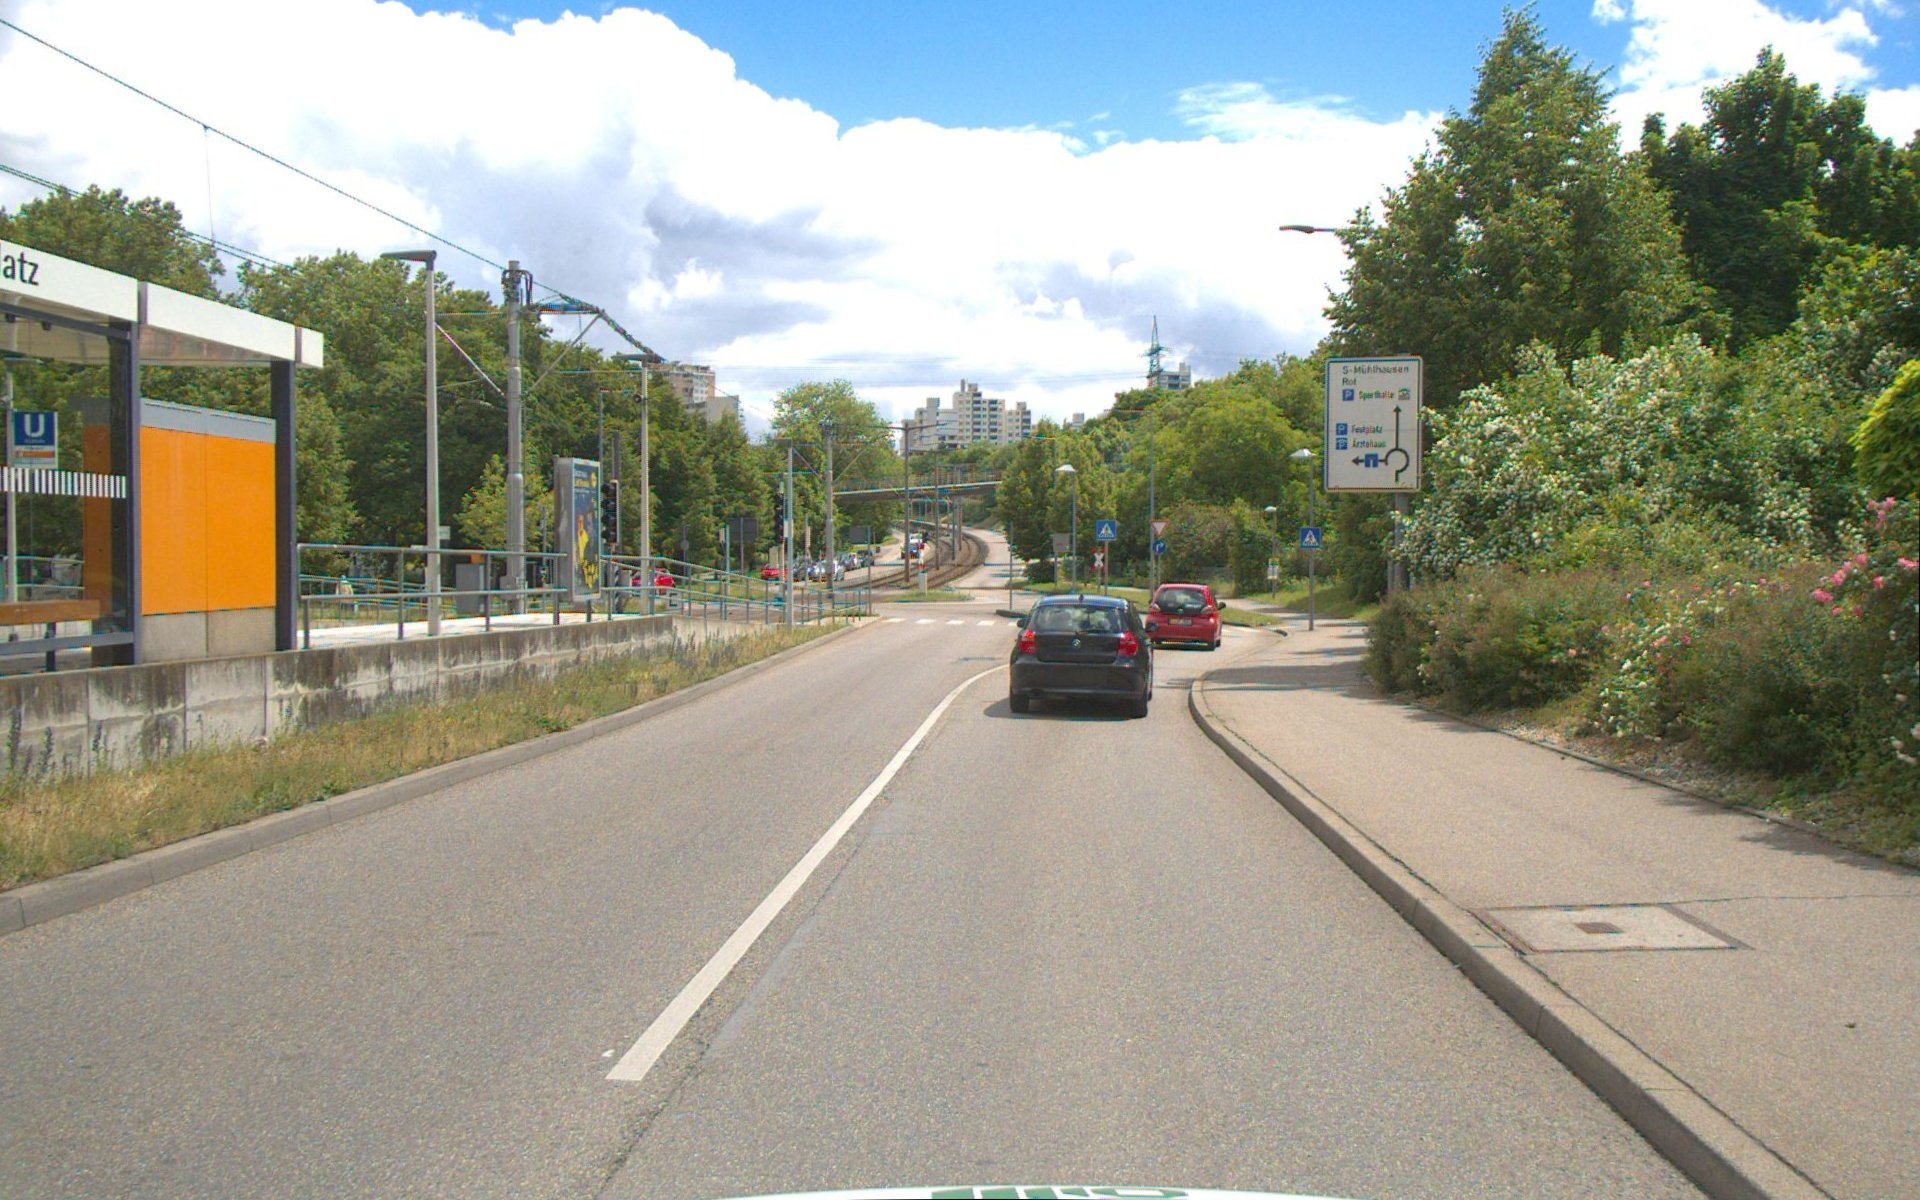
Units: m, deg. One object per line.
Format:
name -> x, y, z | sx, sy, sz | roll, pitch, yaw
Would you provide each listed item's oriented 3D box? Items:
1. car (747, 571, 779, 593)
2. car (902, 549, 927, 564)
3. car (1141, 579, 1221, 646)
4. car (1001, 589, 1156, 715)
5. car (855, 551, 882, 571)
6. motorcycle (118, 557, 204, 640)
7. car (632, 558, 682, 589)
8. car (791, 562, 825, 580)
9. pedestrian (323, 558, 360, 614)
car -> -13.209, -1.206, 110.987 | 1.496, 1.394, 3.599 | 0, 1, 4
car -> -5.024, -4.767, 182.339 | 1.951, 1.625, 4.424 | 0, 1, 8
car -> 5.171, 0.259, 38.374 | 1.728, 1.457, 3.482 | -1, 1, 9
car -> 1.494, 0.599, 21.272 | 1.777, 1.445, 4.002 | -1, 0, 3
car -> -8.755, -3.793, 159.118 | 1.951, 1.895, 4.004 | 0, 2, 7
motorcycle -> -20.133, -0.051, 41.718 | 0.816, 2.049, 1.984 | 0, 1, 17
car -> -15.473, -1.382, 84.678 | 1.683, 1.529, 2.969 | 0, 2, 7
car -> -11.236, -2.162, 122.349 | 1.767, 1.275, 3.571 | 0, 2, 7
pedestrian -> -22.769, -0.531, 60.918 | 0.941, 2.048, 0.822 | 1, 2, 22
